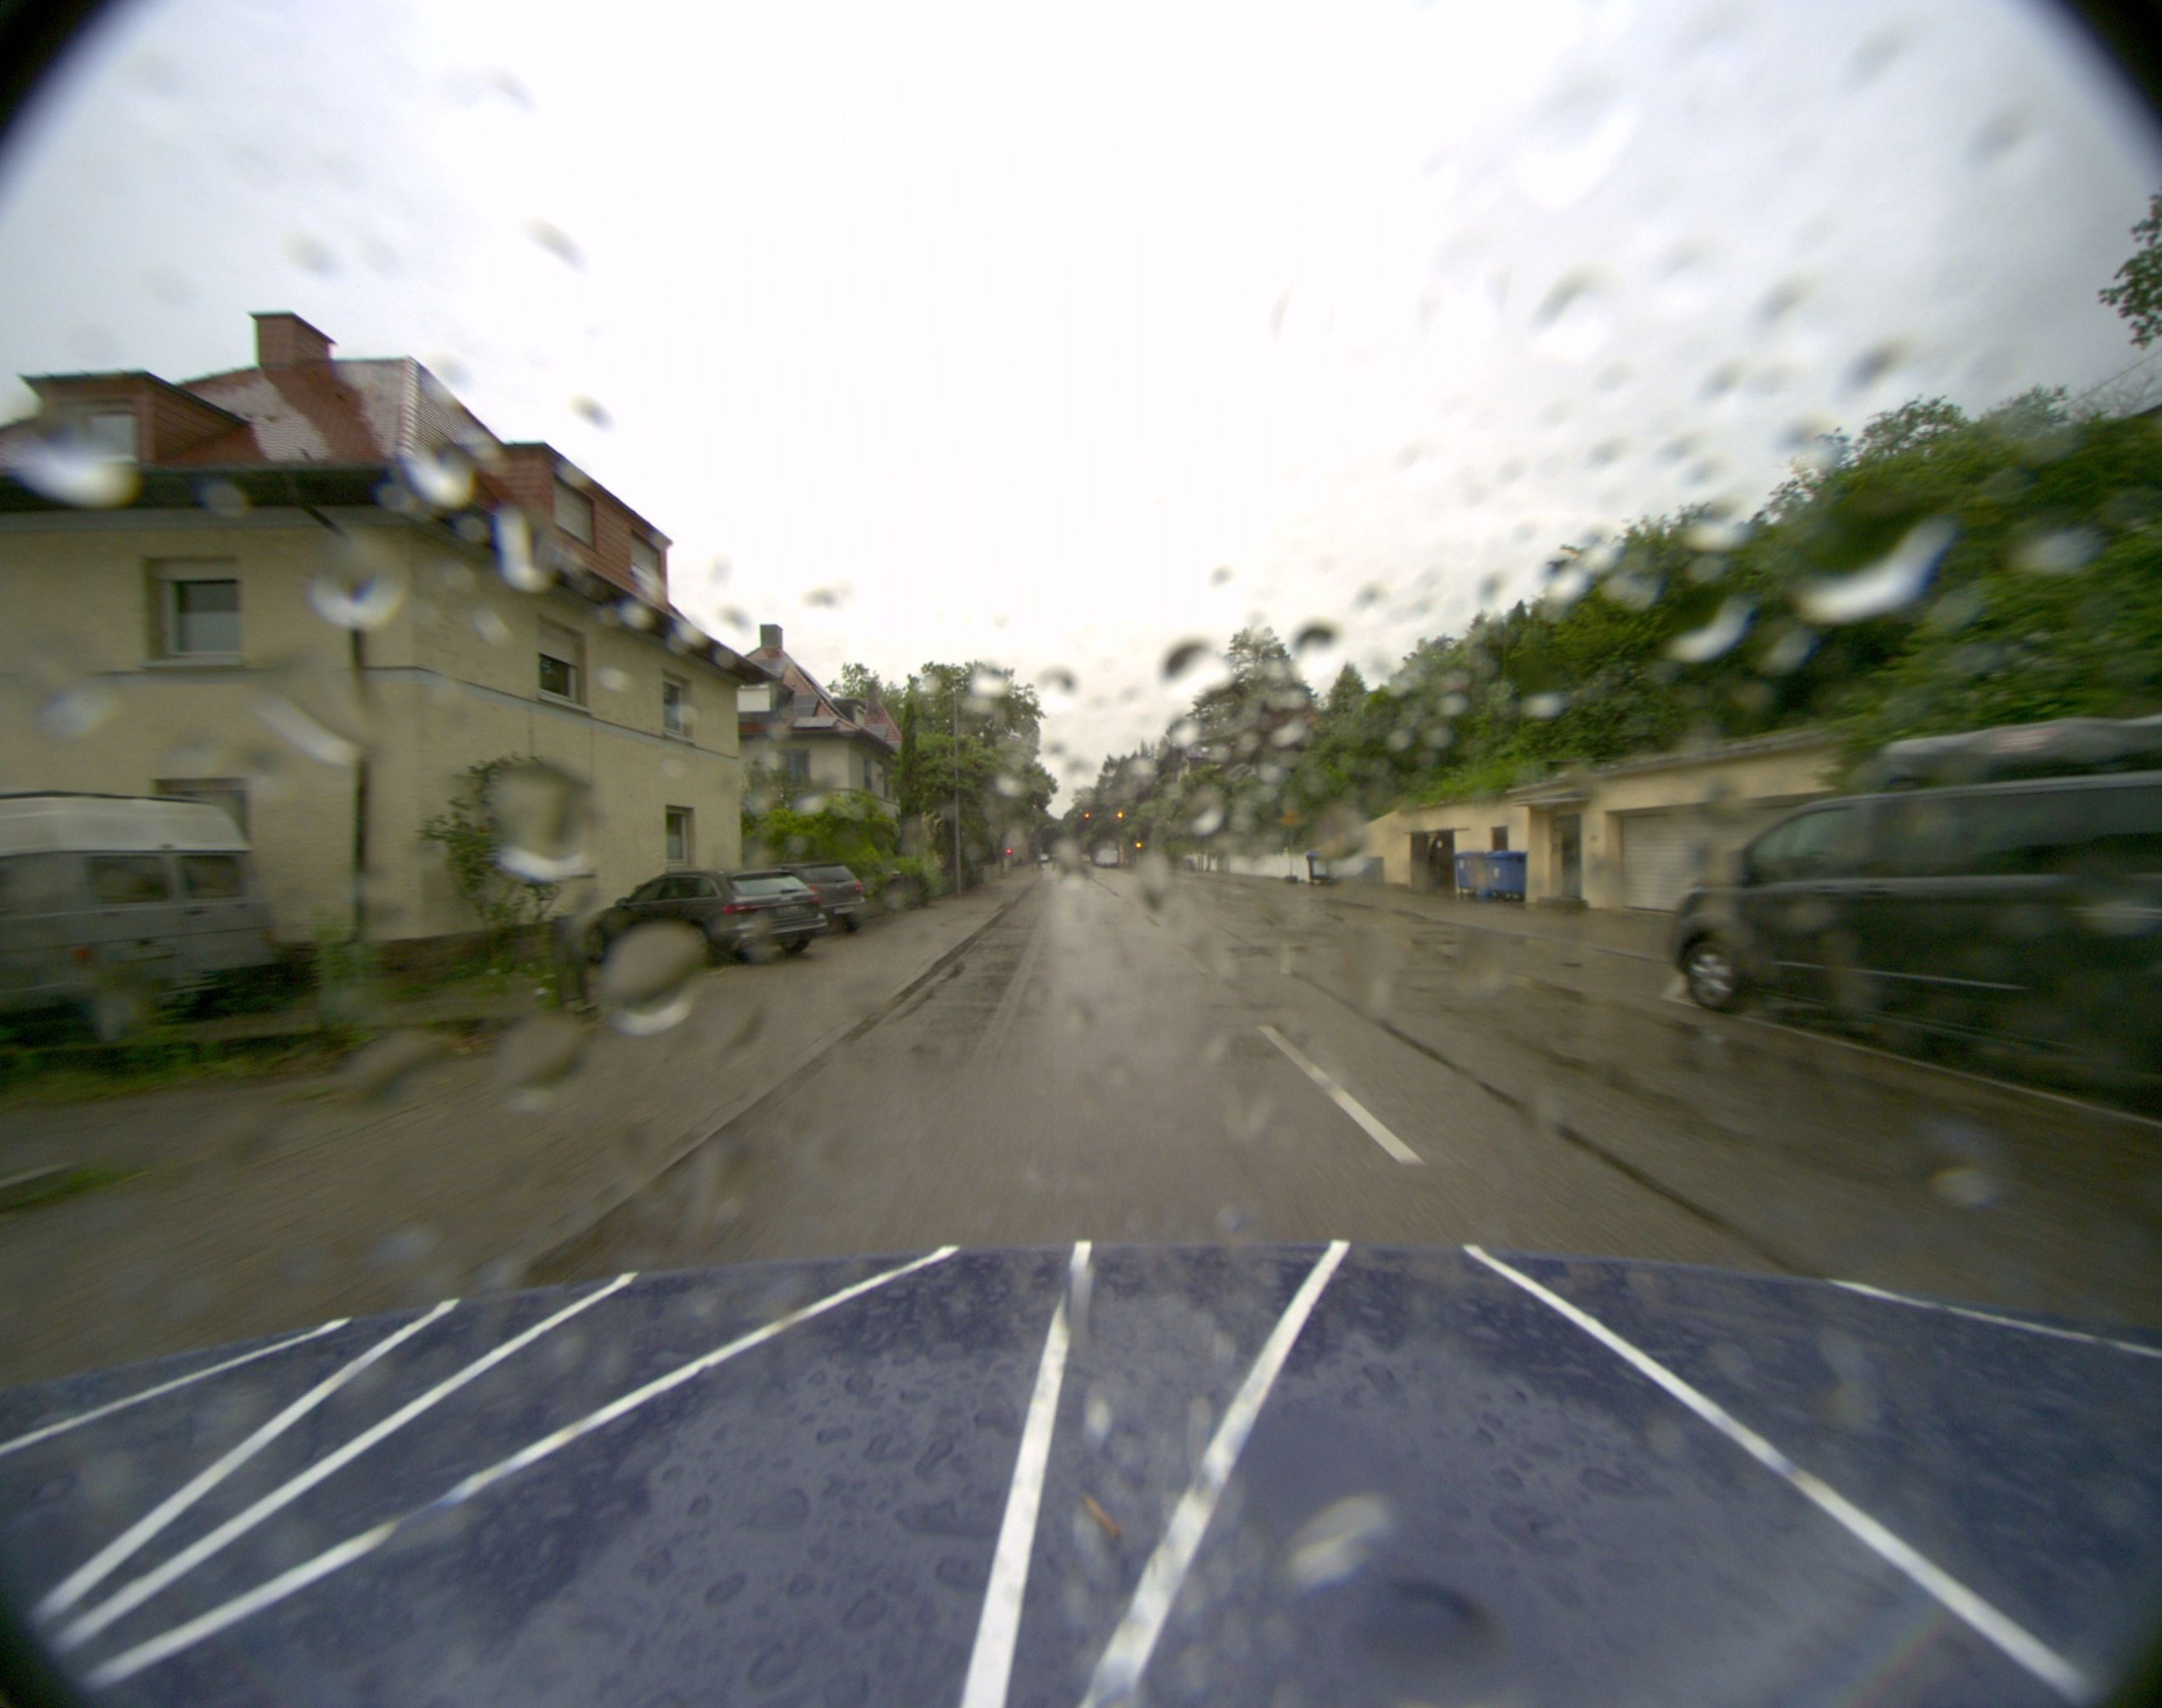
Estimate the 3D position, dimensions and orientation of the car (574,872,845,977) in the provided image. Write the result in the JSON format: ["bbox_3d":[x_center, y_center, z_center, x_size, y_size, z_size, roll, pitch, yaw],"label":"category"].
[{"bbox_3d":[-5.989,1.058,12.096,4.371,1.356,1.923,-3,-2,34],"label":"car"}]

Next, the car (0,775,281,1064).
[{"bbox_3d":[-12.053,0.765,8.285,4.471,2.742,2.007,-3,-2,0],"label":"car"}]

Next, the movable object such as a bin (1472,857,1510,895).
[{"bbox_3d":[11.713,0.622,21.711,0.737,1.036,0.607,-3,1,4],"label":"movable object such as a bin"}]

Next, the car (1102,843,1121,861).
[{"bbox_3d":[4.187,-0.265,105.455,2.085,2.464,4.851,1,1,-3],"label":"car"}]

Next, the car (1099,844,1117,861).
[{"bbox_3d":[3.930,-0.194,111.900,2.163,2.454,4.914,1,1,-3],"label":"car"}]

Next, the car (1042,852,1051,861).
[{"bbox_3d":[-7.327,0.546,162.303,1.925,1.889,3.999,-3,1,-2],"label":"car"}]

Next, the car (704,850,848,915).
[{"bbox_3d":[-10.303,0.939,25.864,3.996,1.571,1.821,-8,1,3],"label":"car"}]

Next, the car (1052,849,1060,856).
[{"bbox_3d":[-7.542,-0.546,231.505,1.924,1.889,4.000,-3,1,4],"label":"car"}]

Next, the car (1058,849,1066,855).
[{"bbox_3d":[-6.007,-0.620,242.136,1.924,1.889,4.001,-3,1,6],"label":"car"}]

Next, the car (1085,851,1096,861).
[{"bbox_3d":[1.886,0.372,154.994,1.925,1.747,3.999,-3,1,-2],"label":"car"}]

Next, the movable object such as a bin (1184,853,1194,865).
[{"bbox_3d":[9.157,0.428,64.425,0.683,1.034,0.657,-3,1,-4],"label":"movable object such as a bin"}]

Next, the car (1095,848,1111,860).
[{"bbox_3d":[3.597,-0.046,122.934,2.163,1.944,4.914,1,1,-3],"label":"car"}]

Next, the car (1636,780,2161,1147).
[{"bbox_3d":[6.719,0.535,5.120,2.163,1.908,5.323,-1,1,1],"label":"car"}]

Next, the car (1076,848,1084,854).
[{"bbox_3d":[-0.202,-0.905,225.338,1.924,1.889,4.000,-3,1,3],"label":"car"}]

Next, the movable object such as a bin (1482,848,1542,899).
[{"bbox_3d":[11.600,0.505,20.506,0.822,1.307,1.402,-3,0,4],"label":"movable object such as a bin"}]

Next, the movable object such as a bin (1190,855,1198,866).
[{"bbox_3d":[9.360,0.505,63.137,0.532,0.893,0.416,-3,1,-4],"label":"movable object such as a bin"}]

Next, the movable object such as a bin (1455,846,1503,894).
[{"bbox_3d":[11.835,0.463,22.630,0.822,1.374,1.135,-3,0,4],"label":"movable object such as a bin"}]

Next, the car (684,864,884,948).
[{"bbox_3d":[-6.098,1.005,15.462,3.989,1.448,1.775,-2,0,34],"label":"car"}]

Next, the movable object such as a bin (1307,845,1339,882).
[{"bbox_3d":[10.188,0.387,31.964,0.935,1.437,0.861,-5,2,-2],"label":"movable object such as a bin"}]

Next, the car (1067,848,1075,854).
[{"bbox_3d":[-3.244,-1.112,258.870,1.923,1.889,4.002,-3,1,10],"label":"car"}]

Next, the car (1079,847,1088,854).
[{"bbox_3d":[0.784,-1.029,236.215,1.924,1.889,4.001,-3,1,7],"label":"car"}]
